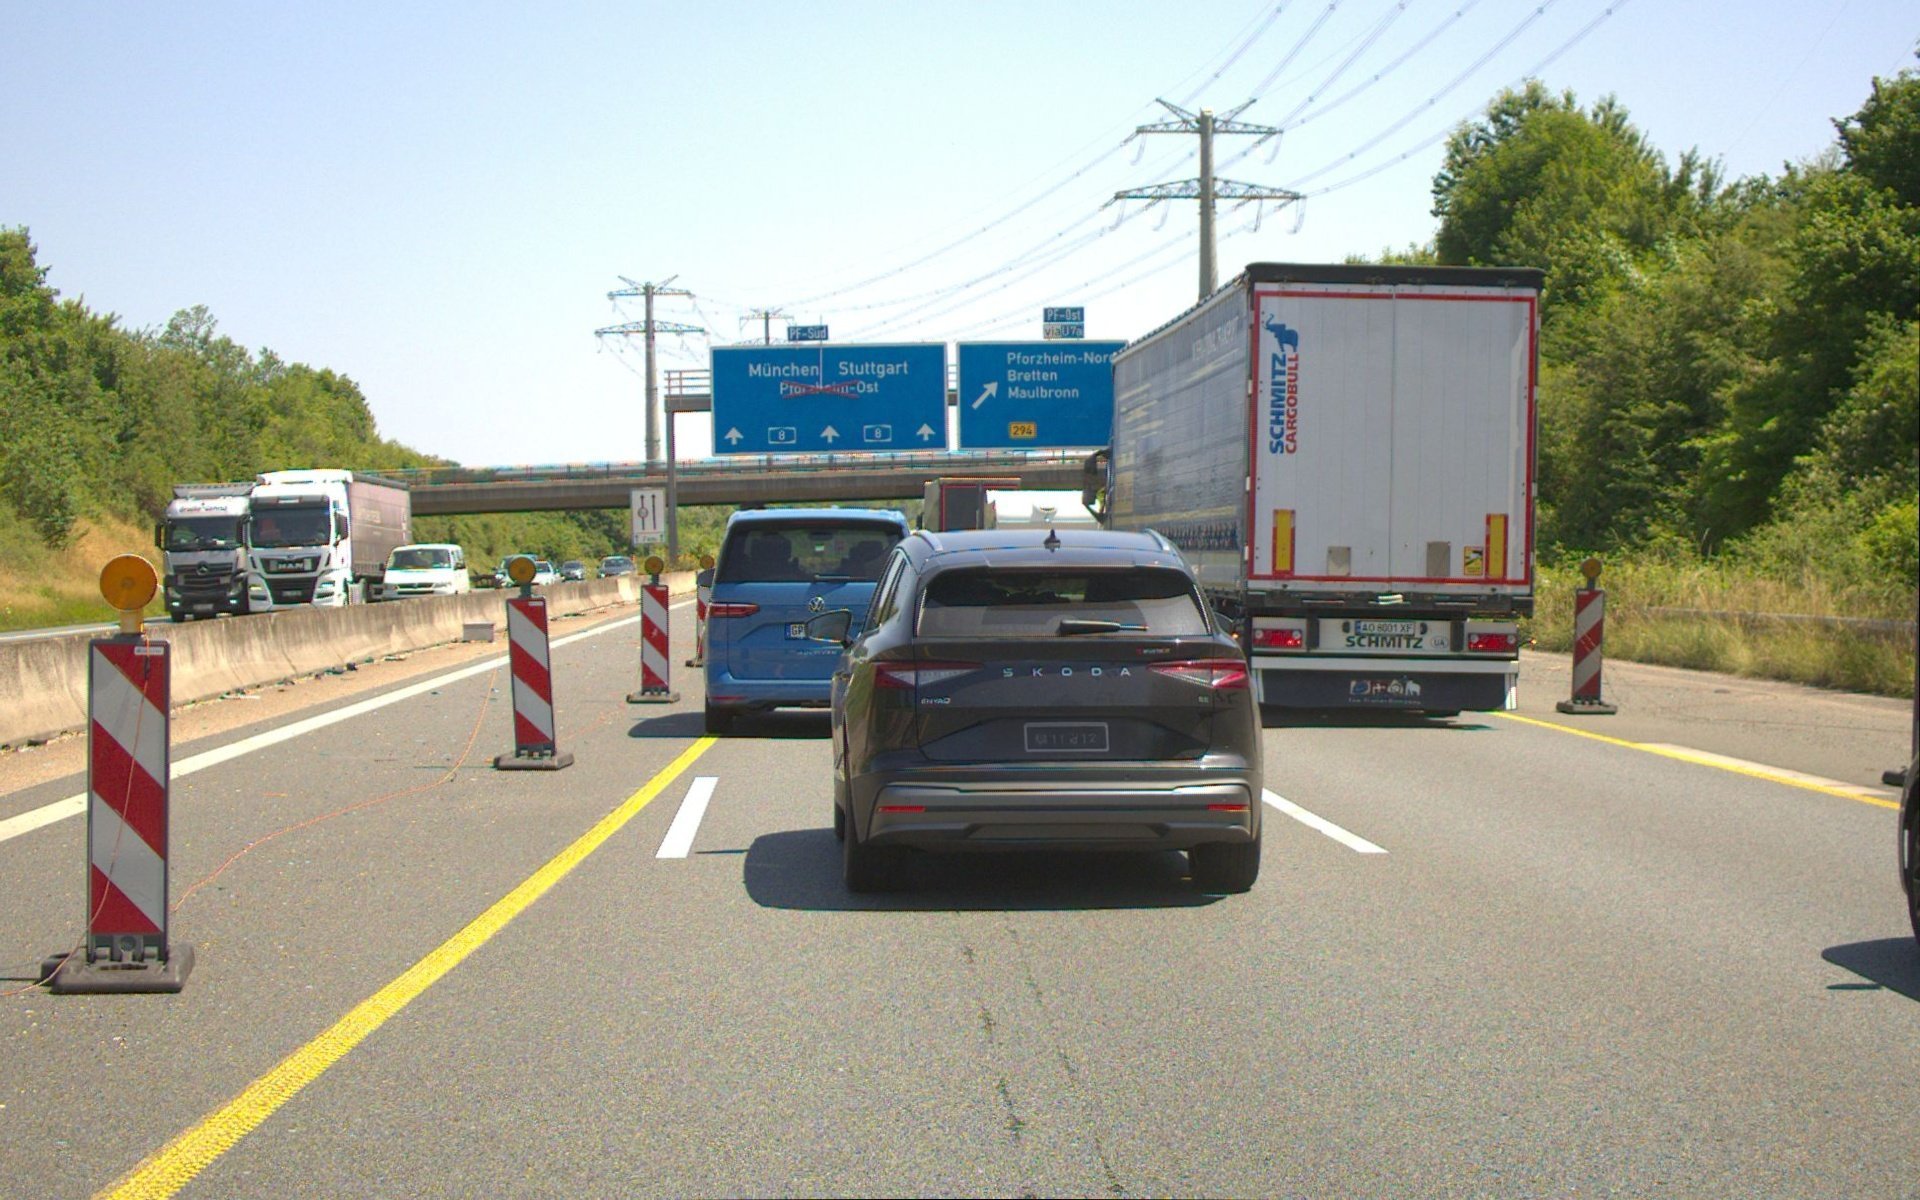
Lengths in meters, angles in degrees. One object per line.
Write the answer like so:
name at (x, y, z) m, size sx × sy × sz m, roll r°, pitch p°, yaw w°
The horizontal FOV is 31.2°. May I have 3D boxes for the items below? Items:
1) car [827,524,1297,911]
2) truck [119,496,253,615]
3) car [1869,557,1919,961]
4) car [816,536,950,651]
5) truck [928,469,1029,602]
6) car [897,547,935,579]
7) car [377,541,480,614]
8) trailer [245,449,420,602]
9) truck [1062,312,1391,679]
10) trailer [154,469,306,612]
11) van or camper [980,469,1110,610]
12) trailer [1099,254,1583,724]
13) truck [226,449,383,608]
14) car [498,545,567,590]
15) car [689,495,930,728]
car at (0.335, 0.439, 16.365) m, size 1.895 × 1.586 × 4.443 m, roll 0°, pitch 1°, yaw -3°
truck at (-22.273, -1.307, 99.278) m, size 2.464 × 3.277 × 6.925 m, roll -1°, pitch 1°, yaw -2°
car at (4.479, 0.622, 11.024) m, size 1.779 × 1.484 × 4.464 m, roll 1°, pitch 1°, yaw -2°
car at (-1.228, -0.132, 52.776) m, size 1.895 × 1.504 × 4.443 m, roll 2°, pitch 3°, yaw -3°
truck at (0.519, -2.120, 114.613) m, size 3.077 × 4.132 × 13.055 m, roll 1°, pitch 1°, yaw -1°
car at (-2.453, -2.055, 189.550) m, size 1.895 × 1.504 × 4.443 m, roll 2°, pitch 3°, yaw -3°
car at (-13.674, -0.602, 88.680) m, size 1.866 × 1.786 × 5.455 m, roll -1°, pitch 1°, yaw -1°
trailer at (-18.455, -2.181, 102.048) m, size 3.160 × 4.165 × 13.686 m, roll -1°, pitch 1°, yaw -2°
truck at (3.091, -1.226, 42.242) m, size 3.024 × 4.073 × 7.796 m, roll 0°, pitch 1°, yaw -3°
trailer at (-22.553, -1.845, 106.832) m, size 2.480 × 4.165 × 12.086 m, roll -1°, pitch 1°, yaw -2°
van or camper at (1.864, -1.365, 77.627) m, size 2.586 × 2.958 × 6.085 m, roll 2°, pitch 1°, yaw -1°
trailer at (3.508, -1.049, 35.259) m, size 3.065 × 4.028 × 11.489 m, roll 0°, pitch 1°, yaw -3°
truck at (-18.190, -1.992, 95.846) m, size 3.163 × 4.210 × 7.416 m, roll -1°, pitch 1°, yaw -2°
car at (-14.557, -1.113, 117.193) m, size 1.762 × 1.466 × 4.634 m, roll -1°, pitch 1°, yaw 0°
car at (-1.312, 0.091, 29.865) m, size 1.895 × 1.835 × 4.443 m, roll 1°, pitch 0°, yaw -3°
